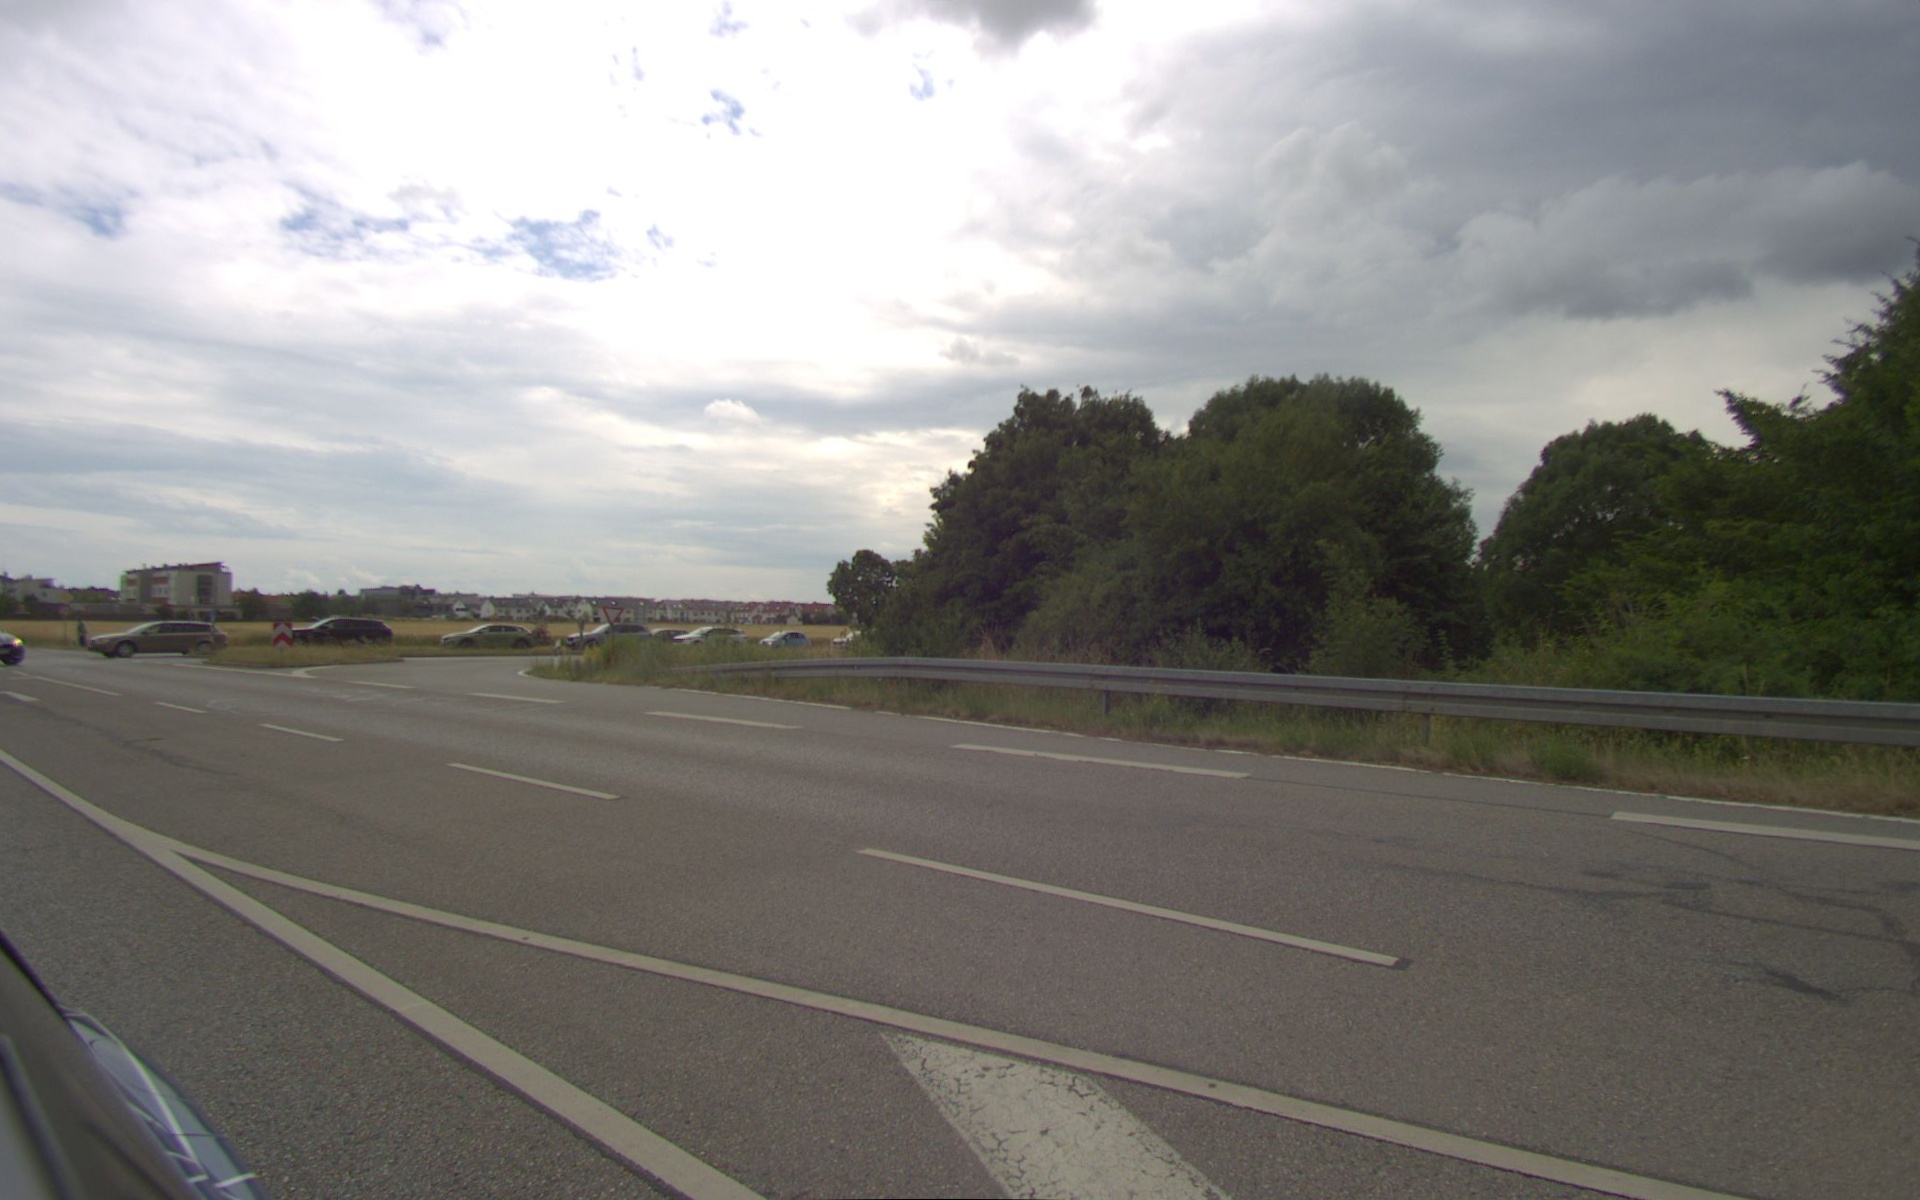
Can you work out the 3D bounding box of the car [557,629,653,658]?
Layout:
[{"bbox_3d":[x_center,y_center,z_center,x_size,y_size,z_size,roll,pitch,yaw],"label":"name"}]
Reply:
[{"bbox_3d":[-19.535,2.382,55.808,4.569,1.528,1.913,2,-2,-43],"label":"car"}]

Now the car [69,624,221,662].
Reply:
[{"bbox_3d":[-32.814,1.704,40.891,1.905,1.435,4.415,-1,-2,32],"label":"car"}]

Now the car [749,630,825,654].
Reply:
[{"bbox_3d":[-10.943,2.636,64.224,4.437,1.493,1.913,2,-2,-43],"label":"car"}]

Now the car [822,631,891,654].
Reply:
[{"bbox_3d":[-6.952,2.832,68.365,1.911,1.493,4.441,-1,-2,44],"label":"car"}]

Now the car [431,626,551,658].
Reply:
[{"bbox_3d":[-23.808,2.093,51.521,5.222,1.533,1.913,2,-2,-43],"label":"car"}]

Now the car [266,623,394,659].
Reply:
[{"bbox_3d":[-28.813,1.842,46.395,4.683,1.543,1.913,2,-2,-43],"label":"car"}]

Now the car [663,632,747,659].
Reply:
[{"bbox_3d":[-15.052,2.649,59.852,4.437,1.493,1.913,2,-2,-43],"label":"car"}]

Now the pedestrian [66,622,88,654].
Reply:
[{"bbox_3d":[-45.105,1.953,51.678,0.865,1.617,0.587,-1,-4,38],"label":"pedestrian"}]

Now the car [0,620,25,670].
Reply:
[{"bbox_3d":[-33.416,1.522,33.654,4.451,1.623,1.695,-1,0,22],"label":"car"}]
